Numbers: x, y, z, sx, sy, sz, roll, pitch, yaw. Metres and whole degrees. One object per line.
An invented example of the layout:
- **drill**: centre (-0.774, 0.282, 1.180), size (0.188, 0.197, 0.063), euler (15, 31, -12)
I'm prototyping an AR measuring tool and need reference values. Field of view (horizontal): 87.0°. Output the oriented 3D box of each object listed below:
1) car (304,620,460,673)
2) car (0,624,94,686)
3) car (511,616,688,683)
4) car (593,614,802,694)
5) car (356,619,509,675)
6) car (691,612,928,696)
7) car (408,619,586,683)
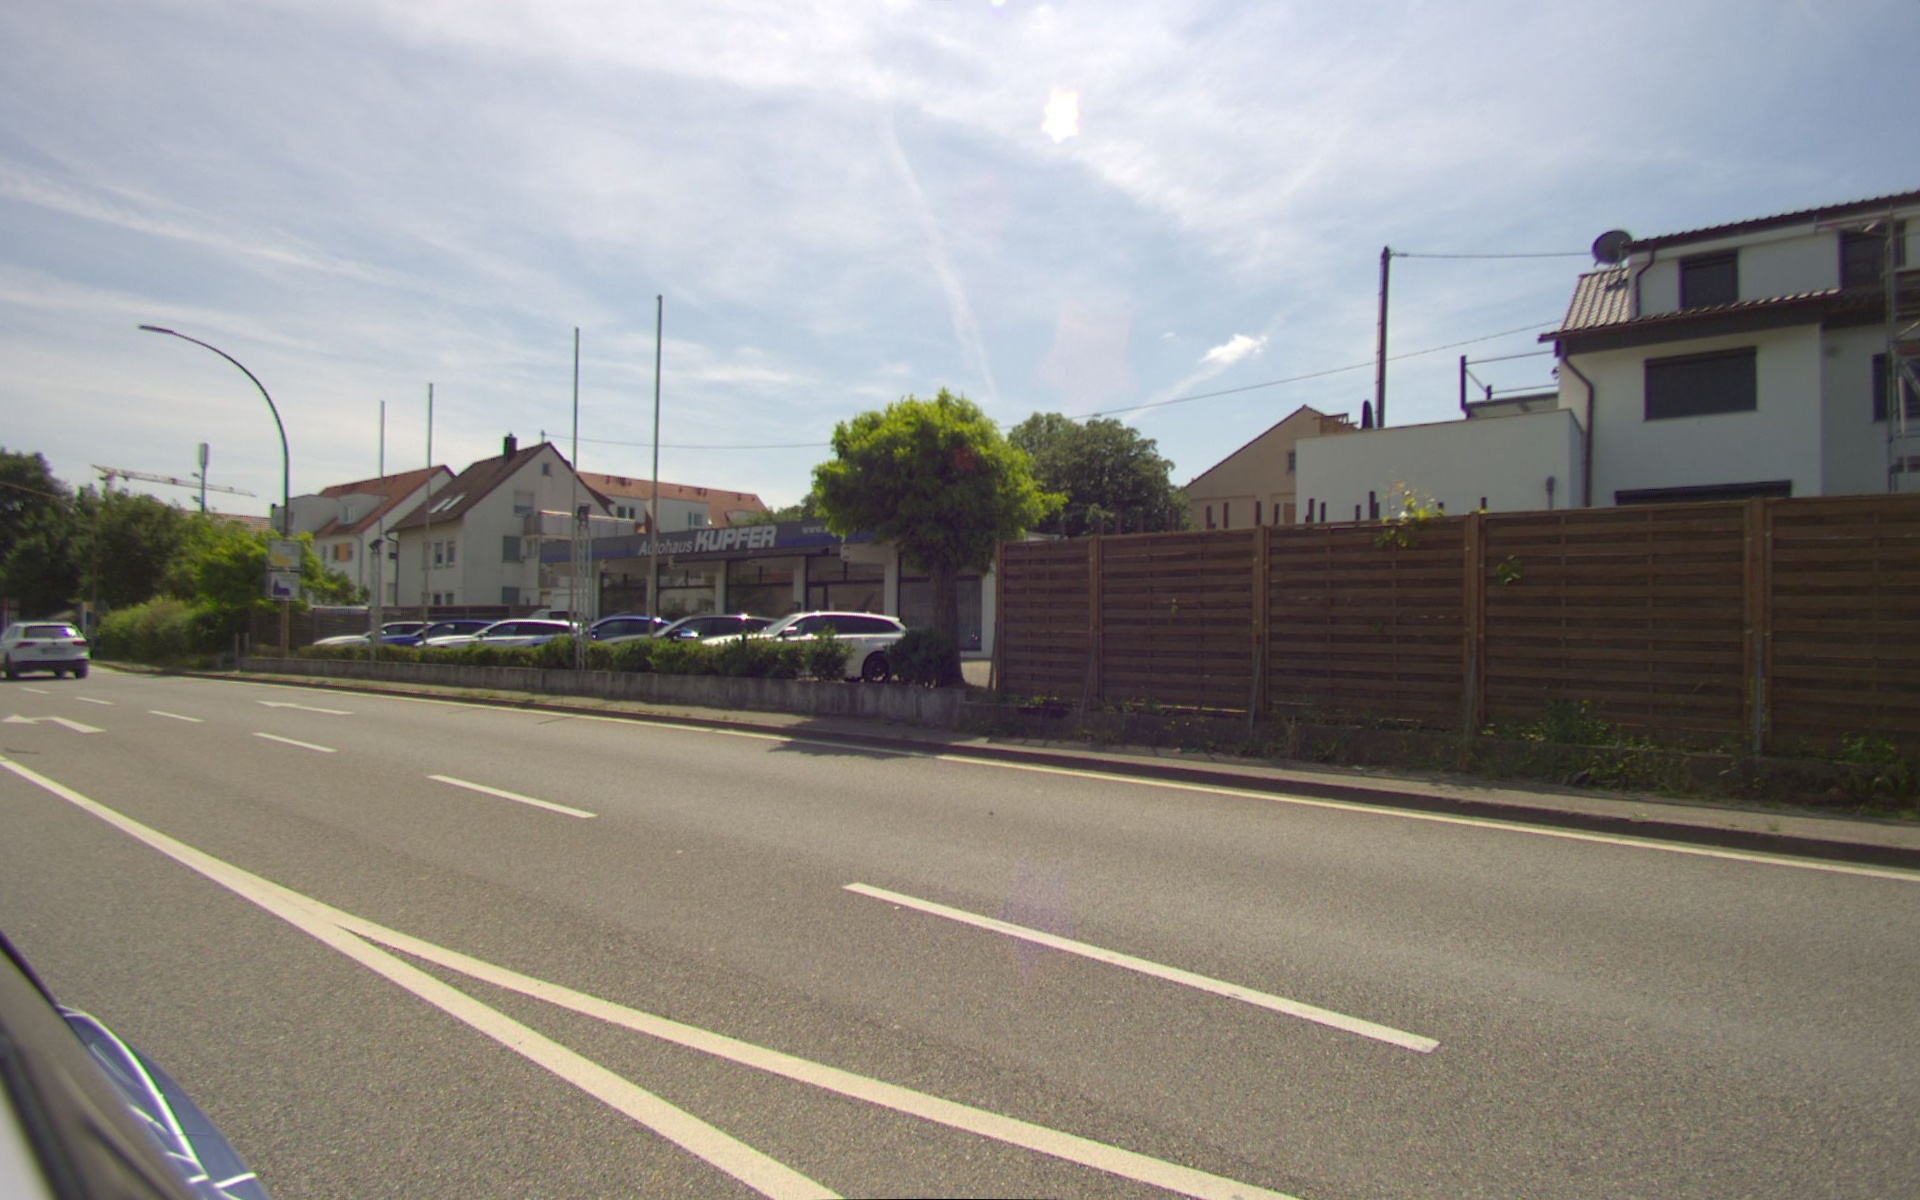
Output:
- **car**: centre (-18.700, 1.461, 32.977), size (4.192, 1.541, 2.007), euler (-1, -1, -24)
- **car**: centre (-27.501, 1.585, 30.072), size (4.397, 1.668, 1.828), euler (-2, -1, 38)
- **car**: centre (-8.912, 1.165, 25.001), size (3.931, 1.453, 1.860), euler (-1, -1, -25)
- **car**: centre (-5.838, 1.140, 22.549), size (4.187, 1.557, 1.856), euler (-1, -1, -27)
- **car**: centre (-15.717, 1.363, 30.395), size (3.930, 1.475, 2.007), euler (-1, -1, -24)
- **car**: centre (-2.981, 1.010, 20.089), size (4.264, 1.471, 1.861), euler (0, -1, -26)
- **car**: centre (-12.498, 1.339, 27.526), size (4.239, 1.530, 2.006), euler (-1, -1, -23)
